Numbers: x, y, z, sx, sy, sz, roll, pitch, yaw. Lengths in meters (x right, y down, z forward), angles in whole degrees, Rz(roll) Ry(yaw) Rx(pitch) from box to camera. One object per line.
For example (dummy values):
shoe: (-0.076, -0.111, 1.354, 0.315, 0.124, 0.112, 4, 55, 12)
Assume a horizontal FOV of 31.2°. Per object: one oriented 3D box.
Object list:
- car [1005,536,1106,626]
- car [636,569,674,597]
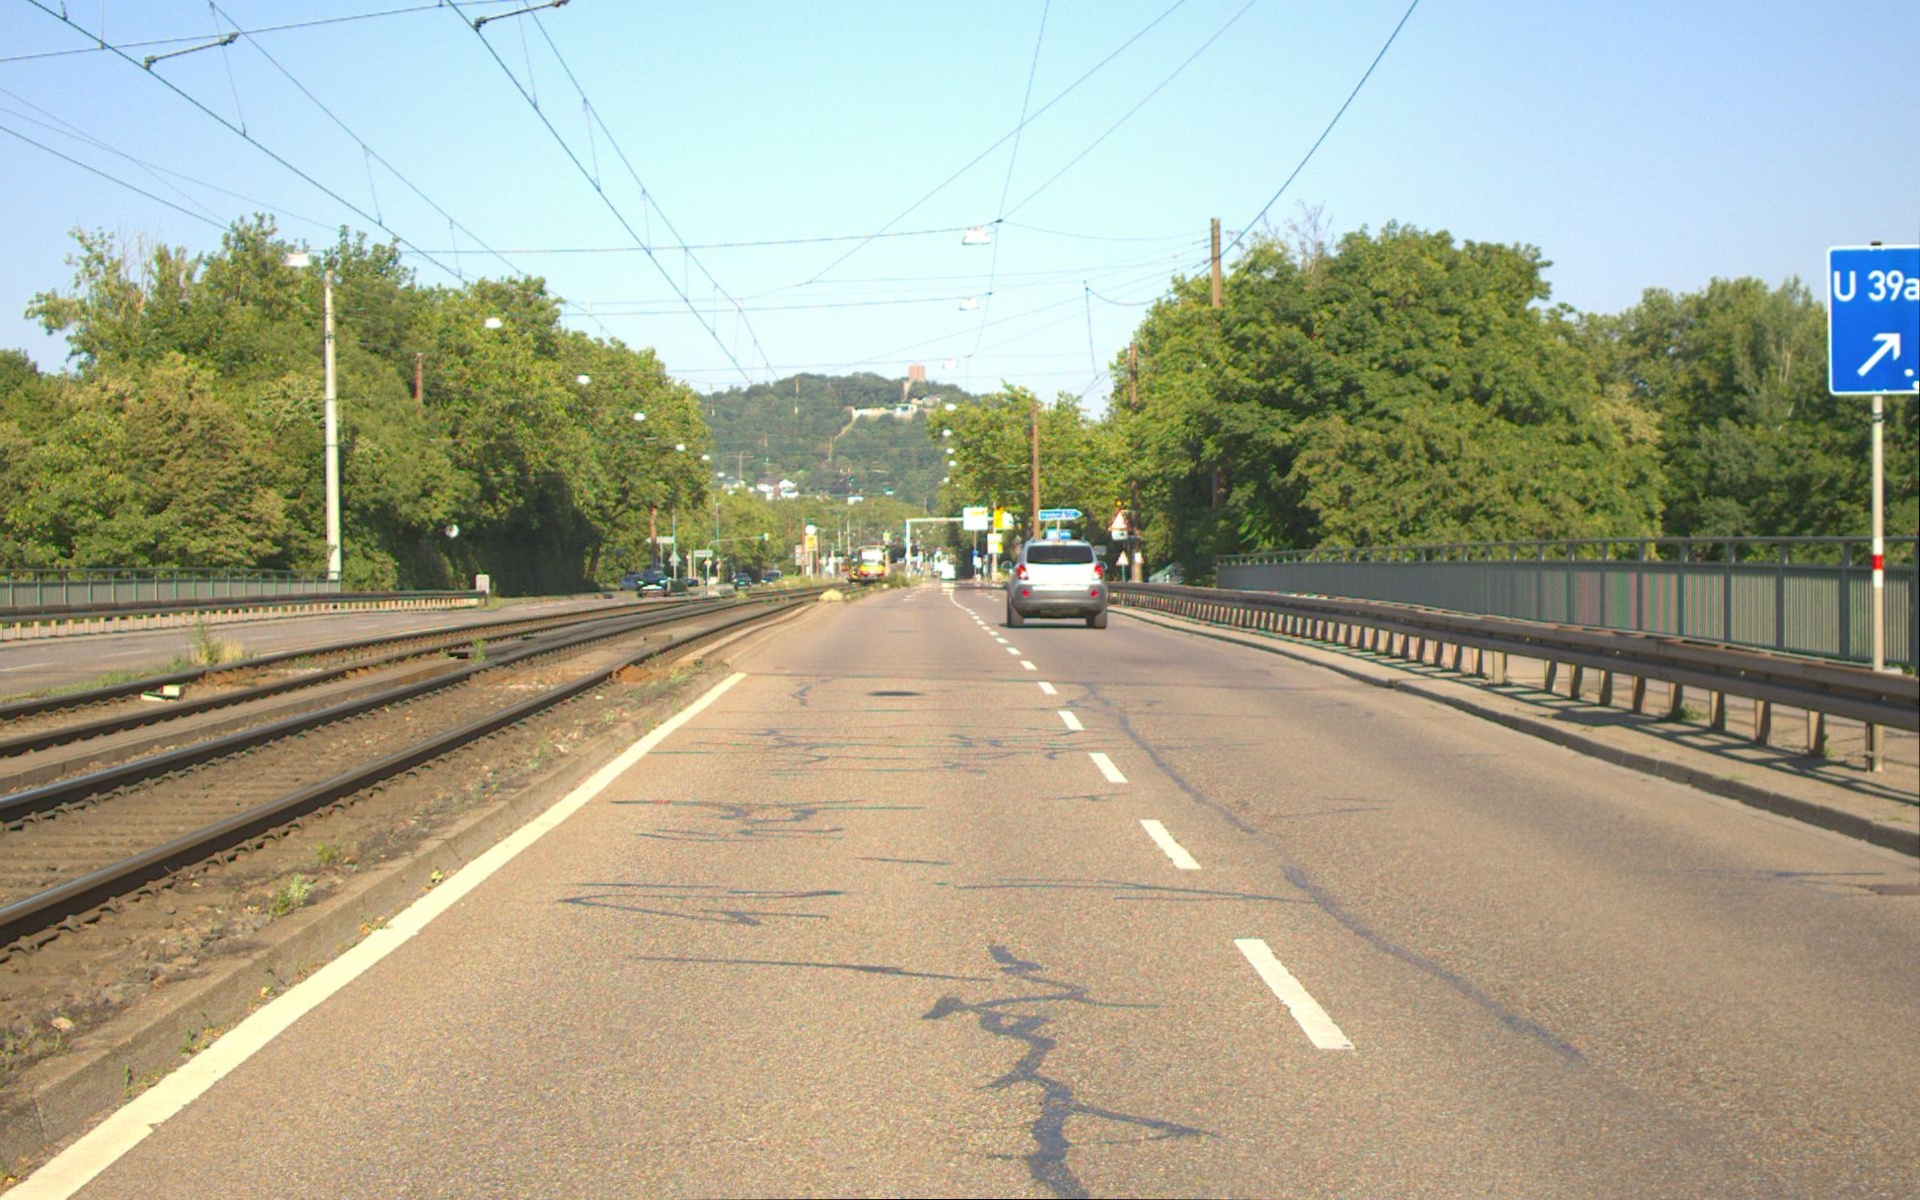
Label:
car: (1.852, -0.378, 66.745, 1.888, 1.688, 4.256, 0, 1, 2)
car: (-18.463, -1.017, 208.376, 1.993, 1.612, 4.000, 1, 1, -1)
